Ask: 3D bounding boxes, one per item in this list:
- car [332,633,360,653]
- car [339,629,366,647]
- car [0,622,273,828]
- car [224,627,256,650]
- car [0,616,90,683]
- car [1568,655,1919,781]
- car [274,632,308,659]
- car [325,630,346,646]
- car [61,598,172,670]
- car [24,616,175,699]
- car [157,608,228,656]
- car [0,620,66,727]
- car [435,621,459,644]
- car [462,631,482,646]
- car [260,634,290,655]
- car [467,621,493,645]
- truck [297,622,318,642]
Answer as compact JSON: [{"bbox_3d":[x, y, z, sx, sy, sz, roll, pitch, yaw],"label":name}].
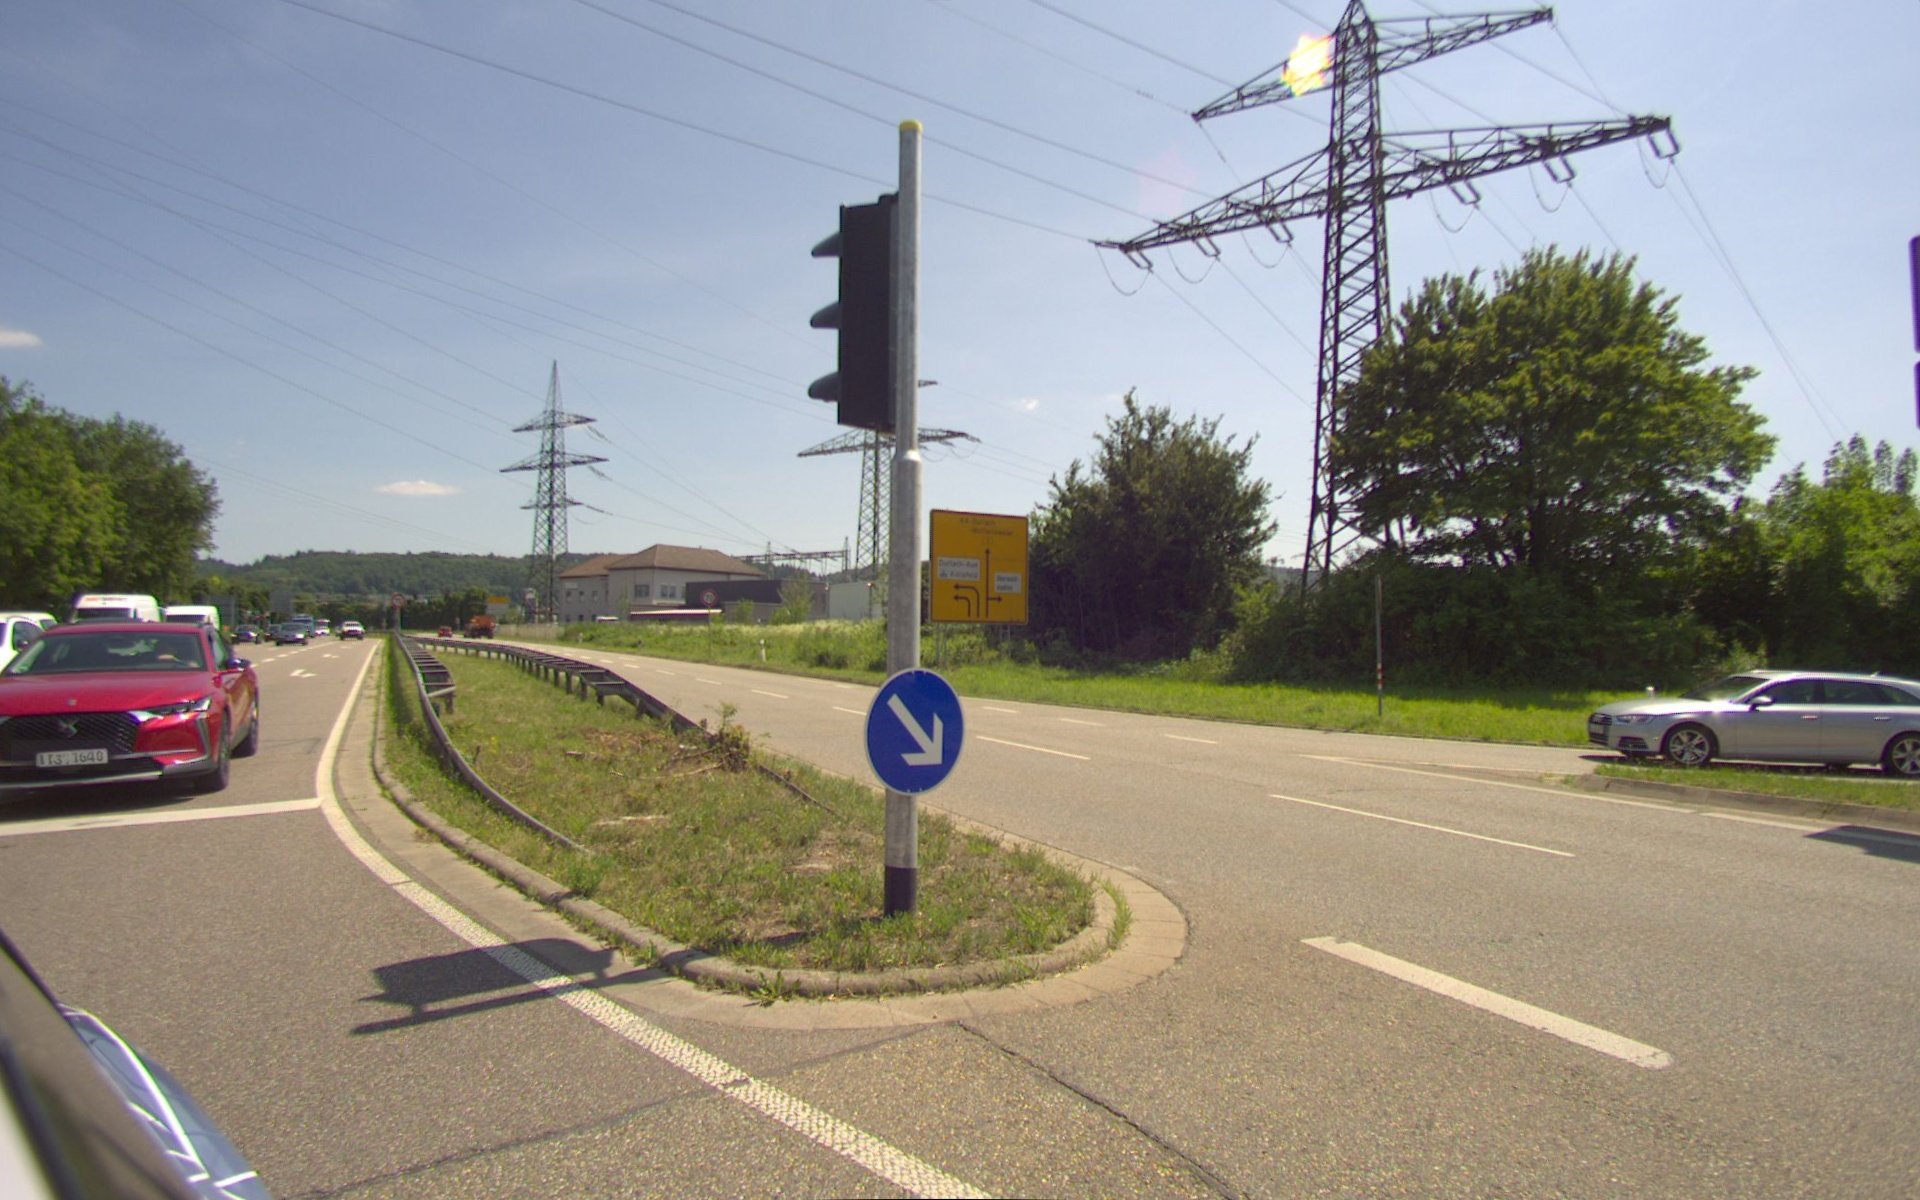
[{"bbox_3d":[-62.571,4.376,103.159,1.965,2.029,4.013,2,-2,-25],"label":"car"},{"bbox_3d":[-59.011,3.686,98.324,1.965,1.776,4.012,2,-2,-28],"label":"car"},{"bbox_3d":[-7.755,0.975,9.476,1.816,1.473,4.427,0,-1,-29],"label":"car"},{"bbox_3d":[-57.510,3.053,80.880,1.847,1.696,4.012,0,-1,-32],"label":"car"},{"bbox_3d":[-27.402,1.426,29.791,1.779,1.814,5.053,0,-1,-30],"label":"car"},{"bbox_3d":[11.962,1.690,14.975,4.614,1.588,2.042,1,-3,10],"label":"car"},{"bbox_3d":[-46.861,3.171,70.905,1.847,1.696,4.012,0,-1,-32],"label":"car"},{"bbox_3d":[-84.627,5.175,137.157,1.965,2.029,4.013,0,-1,-26],"label":"car"},{"bbox_3d":[-33.420,1.324,40.338,2.196,2.627,7.040,0,-1,-30],"label":"car"},{"bbox_3d":[-19.559,1.251,23.200,1.989,1.694,4.012,0,-1,-31],"label":"car"},{"bbox_3d":[-41.688,1.727,55.116,2.270,2.441,5.832,0,-1,-29],"label":"car"},{"bbox_3d":[-15.553,1.115,15.560,1.820,1.580,4.377,0,-1,-29],"label":"car"},{"bbox_3d":[-69.308,4.362,136.713,2.564,3.084,5.656,2,-2,-30],"label":"car"},{"bbox_3d":[-69.086,5.402,143.275,1.966,1.929,4.011,0,-1,-33],"label":"car"},{"bbox_3d":[-64.743,4.214,95.670,1.966,1.832,4.012,0,-1,-29],"label":"car"},{"bbox_3d":[-64.046,4.441,135.045,2.564,3.084,5.656,2,-3,-30],"label":"car"},{"bbox_3d":[-82.360,4.005,127.773,2.135,2.460,4.925,0,-1,-32],"label":"truck"}]
